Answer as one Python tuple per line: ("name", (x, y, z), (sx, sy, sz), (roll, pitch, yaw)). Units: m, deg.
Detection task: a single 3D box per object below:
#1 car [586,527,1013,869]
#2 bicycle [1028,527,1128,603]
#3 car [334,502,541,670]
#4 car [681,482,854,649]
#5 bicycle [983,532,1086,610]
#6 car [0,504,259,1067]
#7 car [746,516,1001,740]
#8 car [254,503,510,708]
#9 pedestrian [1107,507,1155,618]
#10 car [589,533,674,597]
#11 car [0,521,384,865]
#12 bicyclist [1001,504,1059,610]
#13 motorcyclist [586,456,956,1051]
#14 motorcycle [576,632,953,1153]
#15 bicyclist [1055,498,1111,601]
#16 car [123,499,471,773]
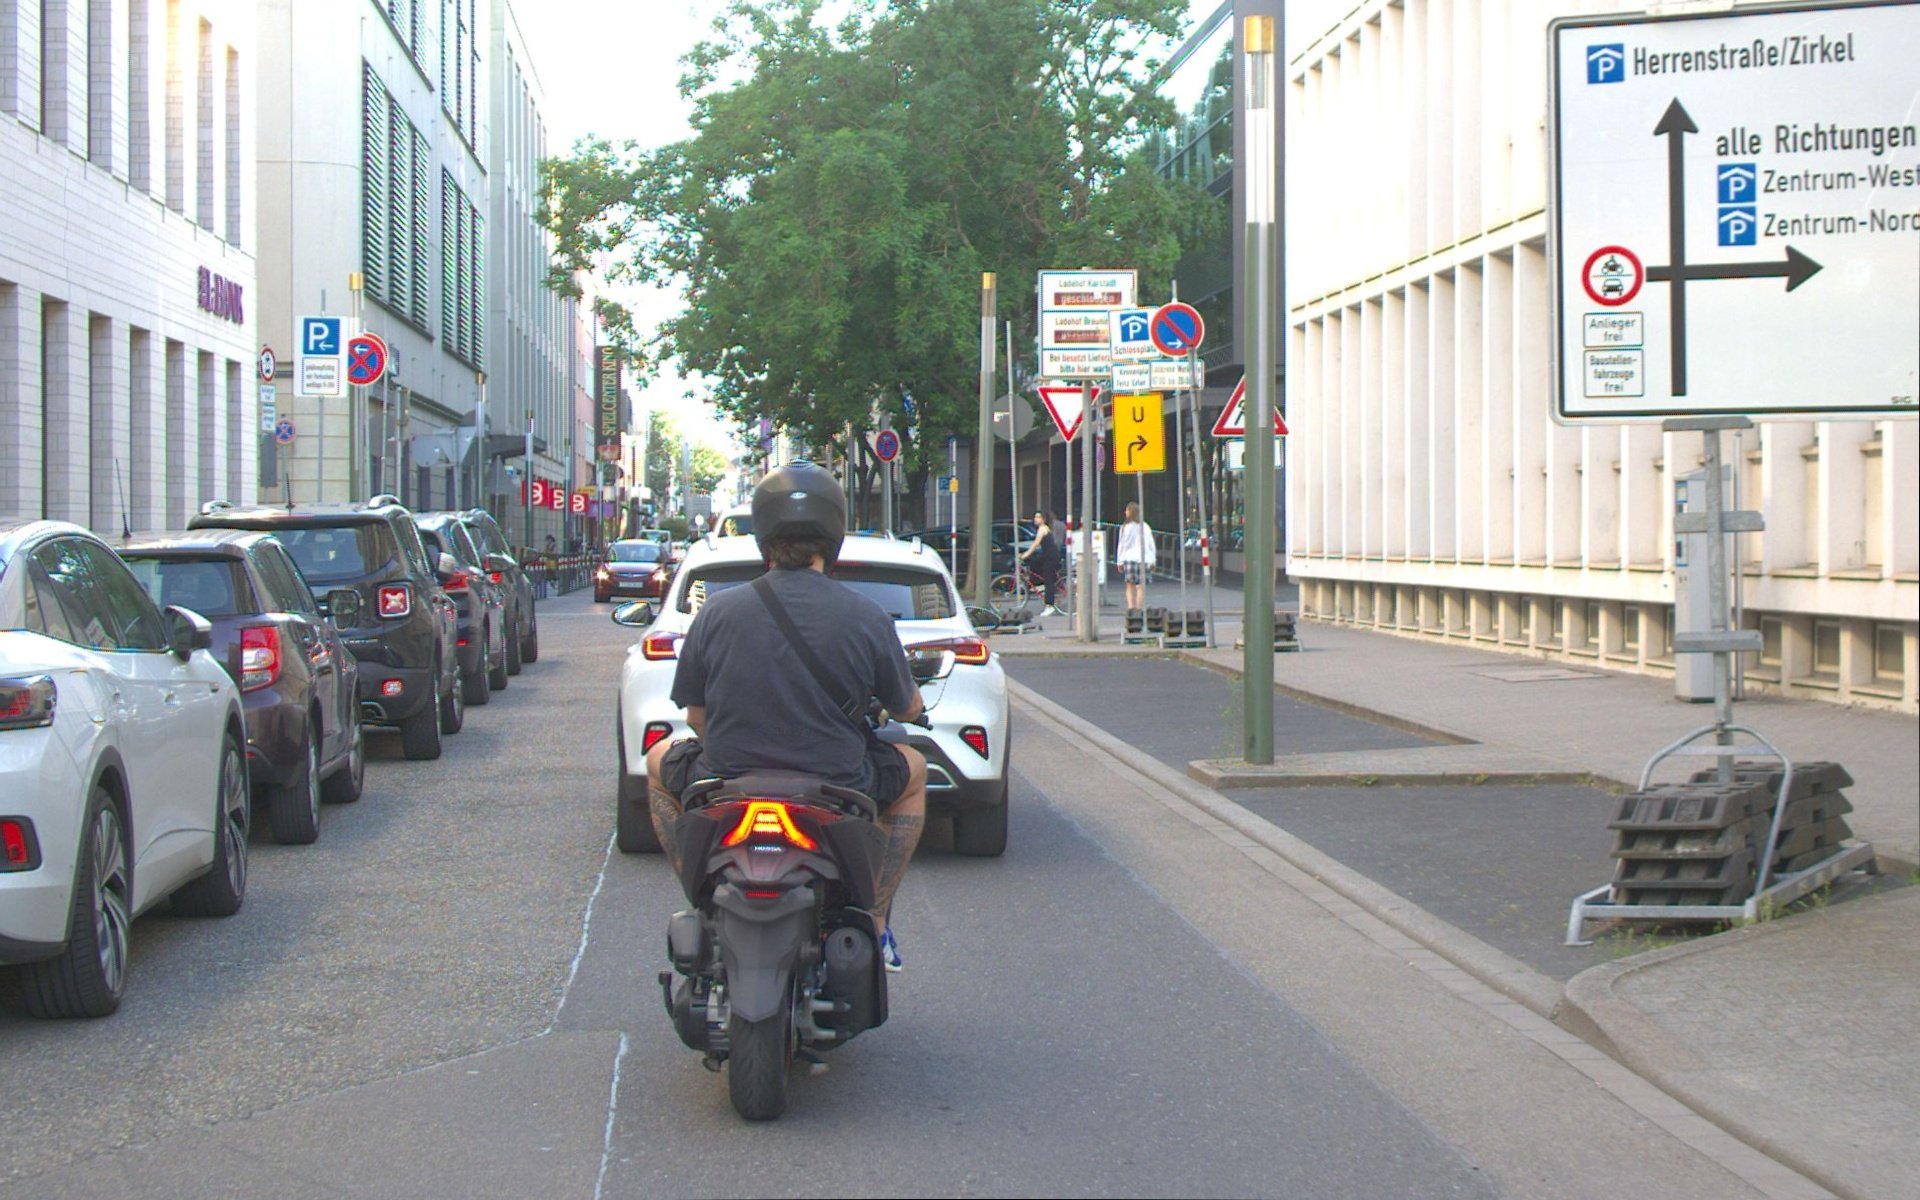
("car", (-0.736, 0.393, 17.205), (1.859, 1.467, 4.000), (1, 1, -1))
("bicycle", (1.958, -0.588, 57.125), (1.564, 1.245, 0.551), (0, 1, 17))
("car", (-5.349, -0.177, 35.525), (1.776, 1.601, 3.516), (-2, 1, -4))
("car", (-2.246, -0.433, 40.653), (1.924, 1.850, 4.001), (-1, 1, -2))
("bicycle", (1.203, -0.465, 55.765), (1.564, 1.245, 0.551), (0, 1, 17))
("car", (-3.652, 0.501, 11.859), (1.810, 1.601, 4.268), (-2, 1, -4))
("car", (-0.713, 0.148, 26.213), (1.774, 1.545, 4.107), (-1, 1, -3))
("car", (-4.882, 0.002, 29.452), (1.776, 1.601, 3.516), (-2, 1, -4))
("pedestrian", (2.477, -0.544, 49.816), (0.643, 1.596, 0.620), (-1, 1, -1))
("car", (-7.847, -0.865, 82.437), (1.947, 1.465, 3.516), (-1, 1, -4))
("car", (-4.037, 0.389, 17.433), (1.810, 1.522, 3.516), (-2, 1, -4))
("bicyclist", (1.136, -0.702, 55.783), (0.747, 1.700, 0.736), (0, 1, 18))
("motorcyclist", (-0.504, 0.389, 9.659), (0.954, 1.554, 1.239), (-1, 1, -1))
("motorcycle", (-0.493, 0.727, 9.689), (0.906, 1.179, 2.579), (-1, 1, -1))
("bicyclist", (2.042, -0.842, 57.122), (0.747, 1.700, 0.736), (0, 1, 18))
("car", (-4.342, 0.179, 22.983), (1.810, 1.640, 3.516), (-2, 1, -4))
